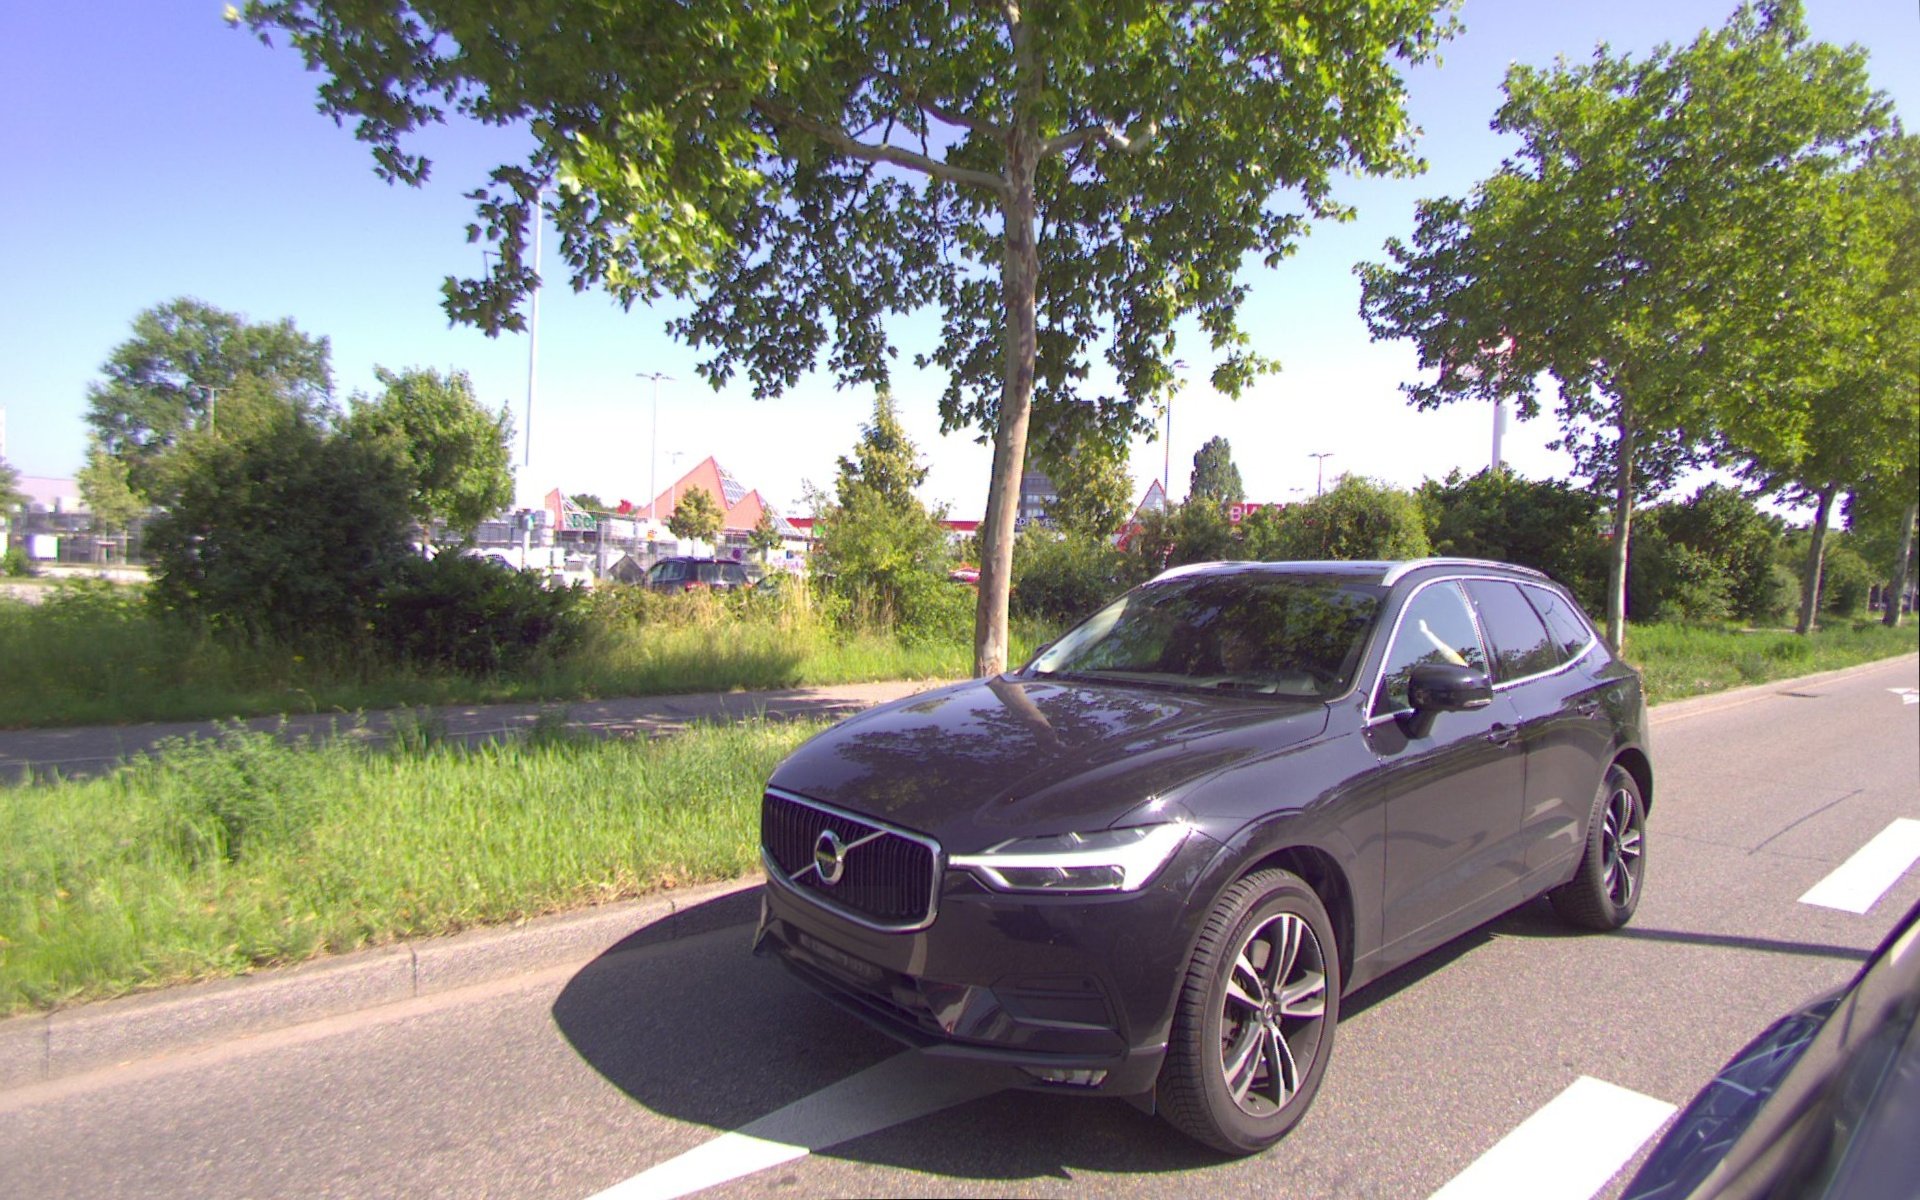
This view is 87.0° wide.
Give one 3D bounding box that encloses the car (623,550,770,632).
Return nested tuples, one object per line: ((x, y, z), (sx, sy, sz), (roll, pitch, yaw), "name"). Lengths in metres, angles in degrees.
((-6.080, -0.224, 23.153), (3.549, 1.717, 1.692), (1, 1, 45), "car")

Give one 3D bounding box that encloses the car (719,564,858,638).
((-4.308, -0.009, 25.146), (3.549, 1.717, 1.692), (1, 1, 45), "car")

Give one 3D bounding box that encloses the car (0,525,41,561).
((-56.835, -3.332, 59.088), (1.971, 2.039, 4.370), (0, 1, 14), "car")

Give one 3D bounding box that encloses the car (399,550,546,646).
((-9.695, -0.065, 20.025), (1.690, 1.717, 3.552), (0, 1, -42), "car")

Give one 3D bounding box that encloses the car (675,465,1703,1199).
((1.329, 0.521, 4.223), (4.485, 1.642, 1.923), (0, 1, -41), "car")
